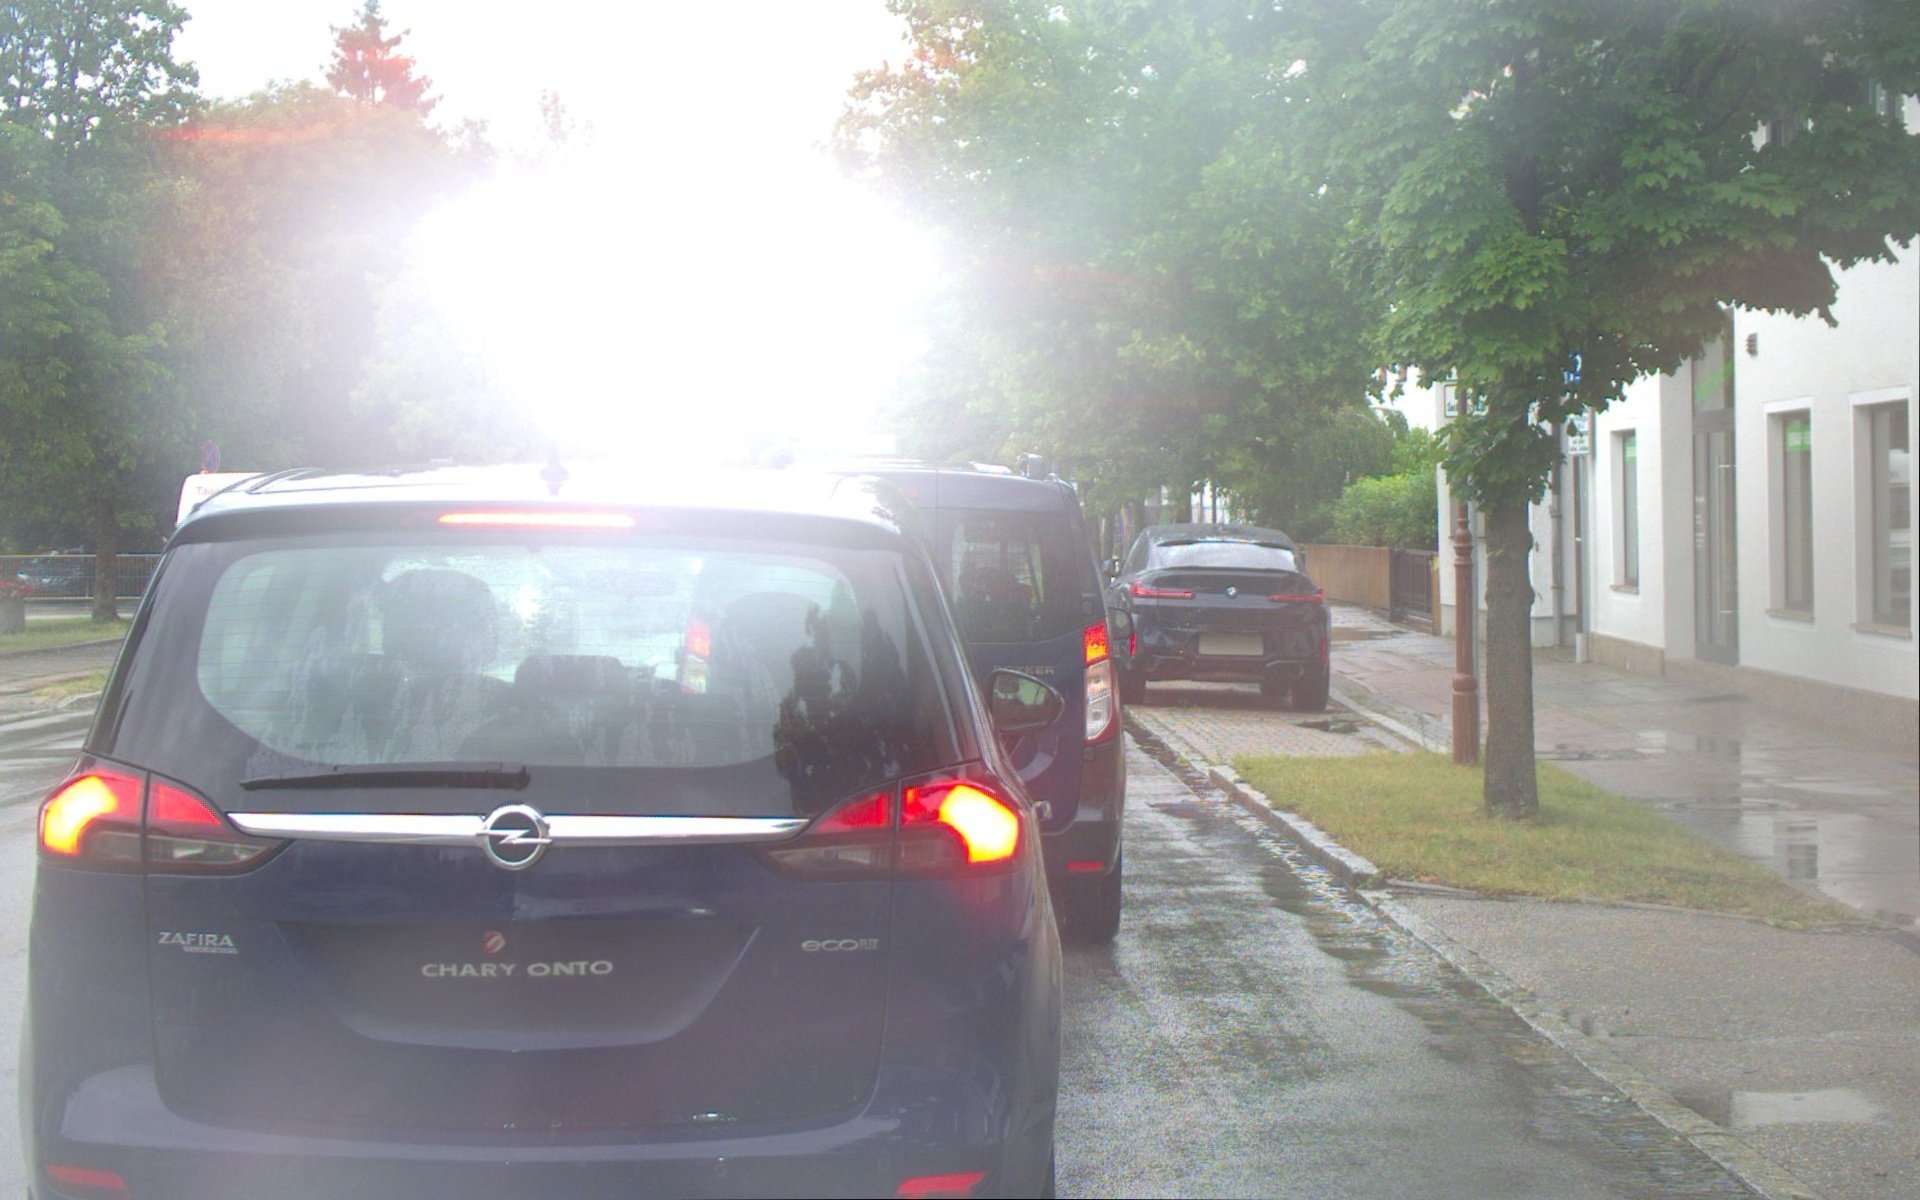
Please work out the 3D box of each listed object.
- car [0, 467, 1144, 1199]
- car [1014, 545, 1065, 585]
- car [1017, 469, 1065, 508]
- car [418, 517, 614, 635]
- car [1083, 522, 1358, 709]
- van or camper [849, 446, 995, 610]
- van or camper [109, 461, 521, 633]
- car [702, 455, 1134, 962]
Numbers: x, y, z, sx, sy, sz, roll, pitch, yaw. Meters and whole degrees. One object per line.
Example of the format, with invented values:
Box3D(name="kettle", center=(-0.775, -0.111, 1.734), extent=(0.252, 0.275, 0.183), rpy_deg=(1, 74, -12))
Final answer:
Box3D(name="car", center=(-0.624, 0.563, 7.149), extent=(1.768, 1.599, 3.663), rpy_deg=(0, 1, -1))
Box3D(name="car", center=(2.751, -1.224, 120.184), extent=(1.630, 1.373, 3.623), rpy_deg=(1, 0, -1))
Box3D(name="car", center=(3.044, -4.196, 129.676), extent=(1.630, 1.373, 3.623), rpy_deg=(-2, 1, -1))
Box3D(name="car", center=(-5.708, -0.332, 44.626), extent=(1.996, 1.402, 3.884), rpy_deg=(-2, 1, 0))
Box3D(name="car", center=(2.307, 0.107, 31.521), extent=(2.117, 1.575, 3.936), rpy_deg=(1, 1, -1))
Box3D(name="van or camper", center=(-0.656, -1.234, 59.006), extent=(2.360, 2.656, 5.372), rpy_deg=(-1, 1, -1))
Box3D(name="van or camper", center=(-10.520, -0.860, 56.299), extent=(6.249, 2.698, 2.100), rpy_deg=(-1, 1, 7))
Box3D(name="car", center=(-0.165, 0.354, 13.677), extent=(1.500, 1.770, 3.112), rpy_deg=(1, 1, -1))
